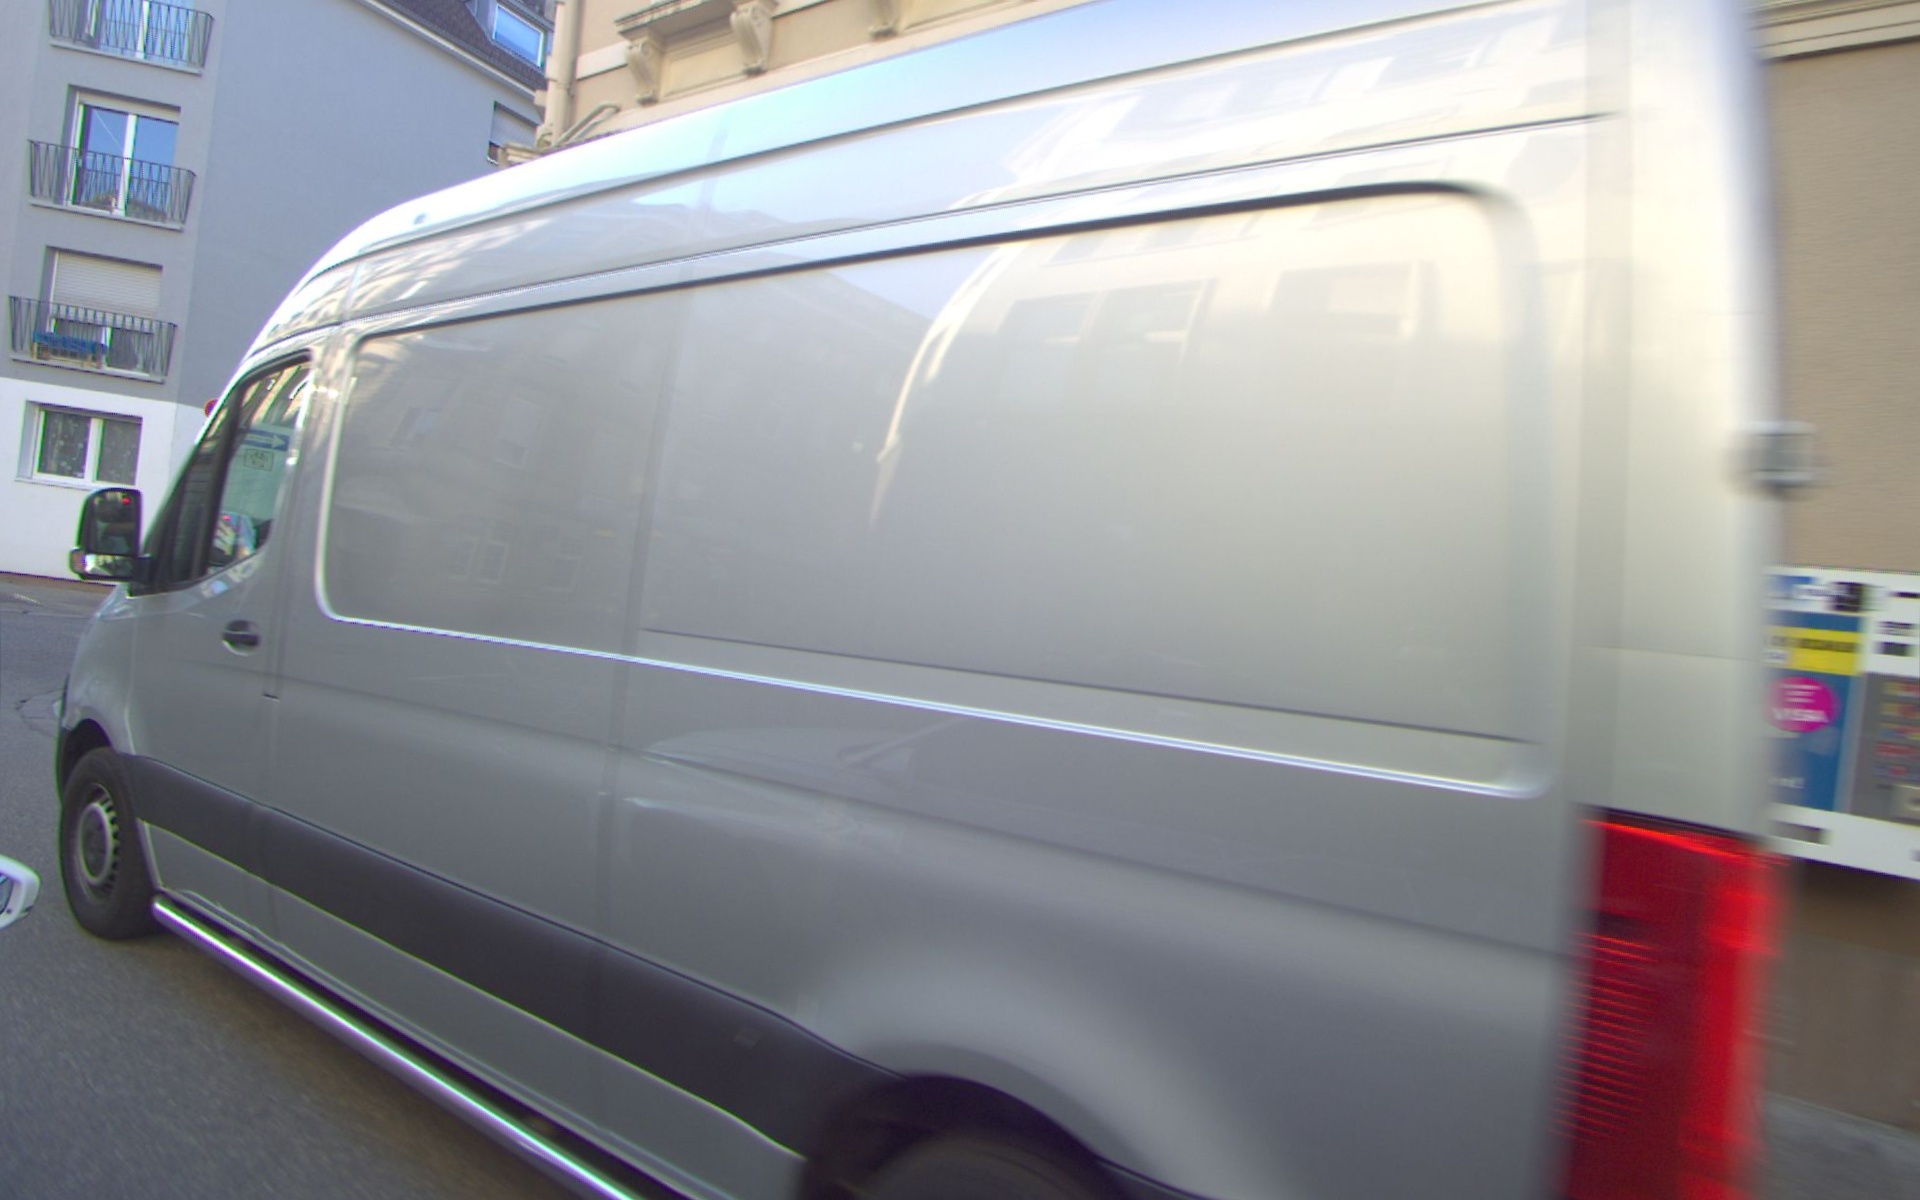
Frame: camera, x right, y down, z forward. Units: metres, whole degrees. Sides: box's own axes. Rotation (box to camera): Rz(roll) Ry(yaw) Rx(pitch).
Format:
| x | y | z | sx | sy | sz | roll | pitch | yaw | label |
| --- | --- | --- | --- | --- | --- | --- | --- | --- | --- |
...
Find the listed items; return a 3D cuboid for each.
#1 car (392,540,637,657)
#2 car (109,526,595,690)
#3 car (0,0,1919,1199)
| x | y | z | sx | sy | sz | roll | pitch | yaw | label |
| --- | --- | --- | --- | --- | --- | --- | --- | --- | --- |
| -8.844 | 0.046 | 20.337 | 1.610 | 1.835 | 4.178 | 6 | -2 | 33 | car |
| -7.213 | 0.211 | 12.463 | 1.861 | 1.424 | 4.716 | 6 | -2 | 36 | car |
| -0.962 | 0.124 | 3.414 | 6.106 | 2.468 | 2.279 | 6 | -1 | 35 | car |
